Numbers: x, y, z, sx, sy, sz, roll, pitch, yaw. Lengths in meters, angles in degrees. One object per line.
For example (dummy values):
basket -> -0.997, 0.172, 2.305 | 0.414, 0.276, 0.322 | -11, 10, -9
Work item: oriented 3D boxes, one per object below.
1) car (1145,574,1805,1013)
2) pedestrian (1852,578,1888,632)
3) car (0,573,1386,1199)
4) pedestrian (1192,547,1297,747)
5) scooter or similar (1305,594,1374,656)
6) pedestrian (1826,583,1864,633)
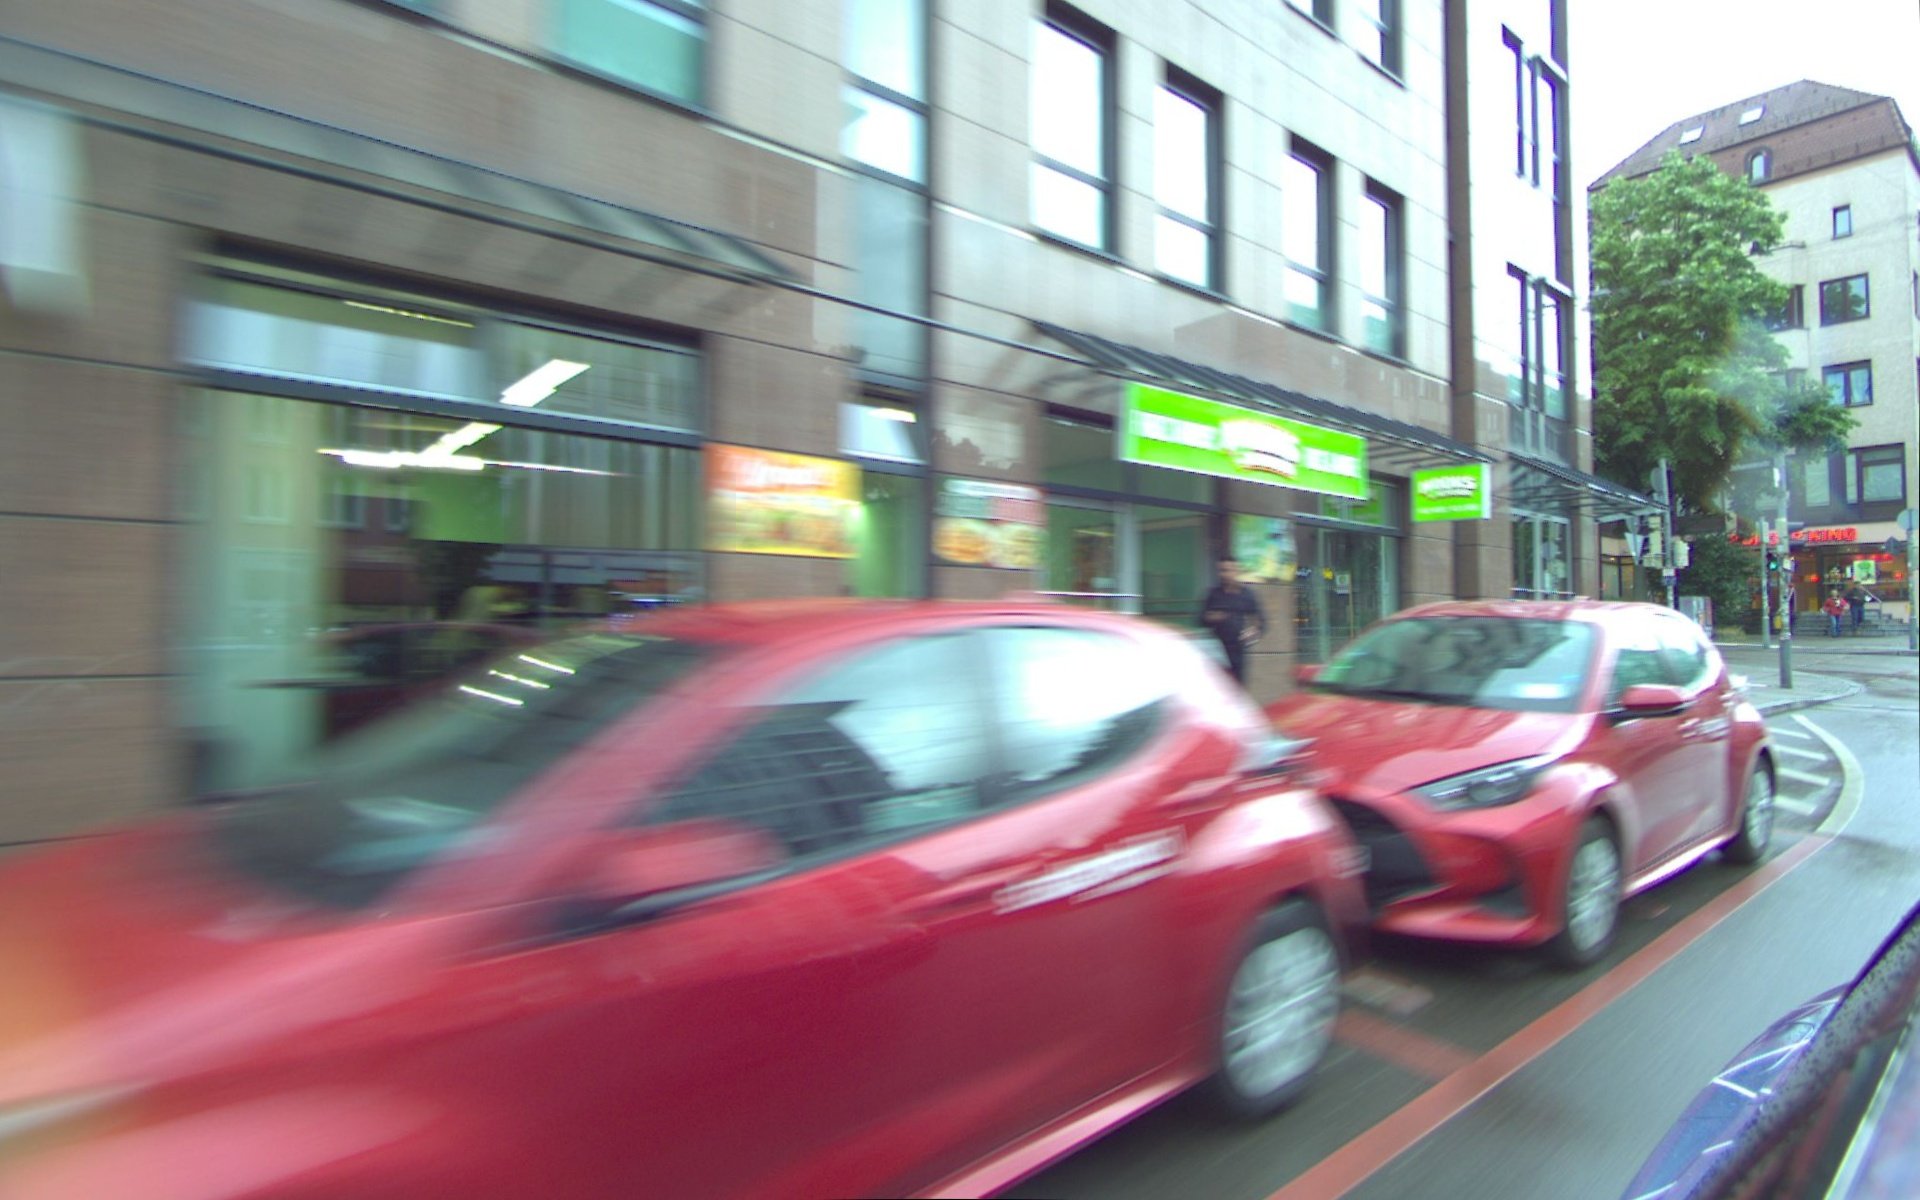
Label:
car -> 2.918, 0.643, 5.408 | 3.797, 1.498, 1.703 | -2, 2, -38
pedestrian -> 31.694, 0.174, 35.266 | 0.585, 1.843, 0.667 | -2, 0, 2
car -> -0.643, 0.700, 2.651 | 3.799, 1.480, 1.702 | -2, 2, -40
pedestrian -> 2.505, 0.392, 8.927 | 0.614, 1.680, 0.603 | -2, 0, -39
scooter or similar -> 7.853, 0.507, 20.987 | 0.319, 1.242, 1.378 | -2, 0, -35
pedestrian -> 30.488, 0.266, 34.889 | 0.614, 1.670, 0.725 | -2, 0, 2
